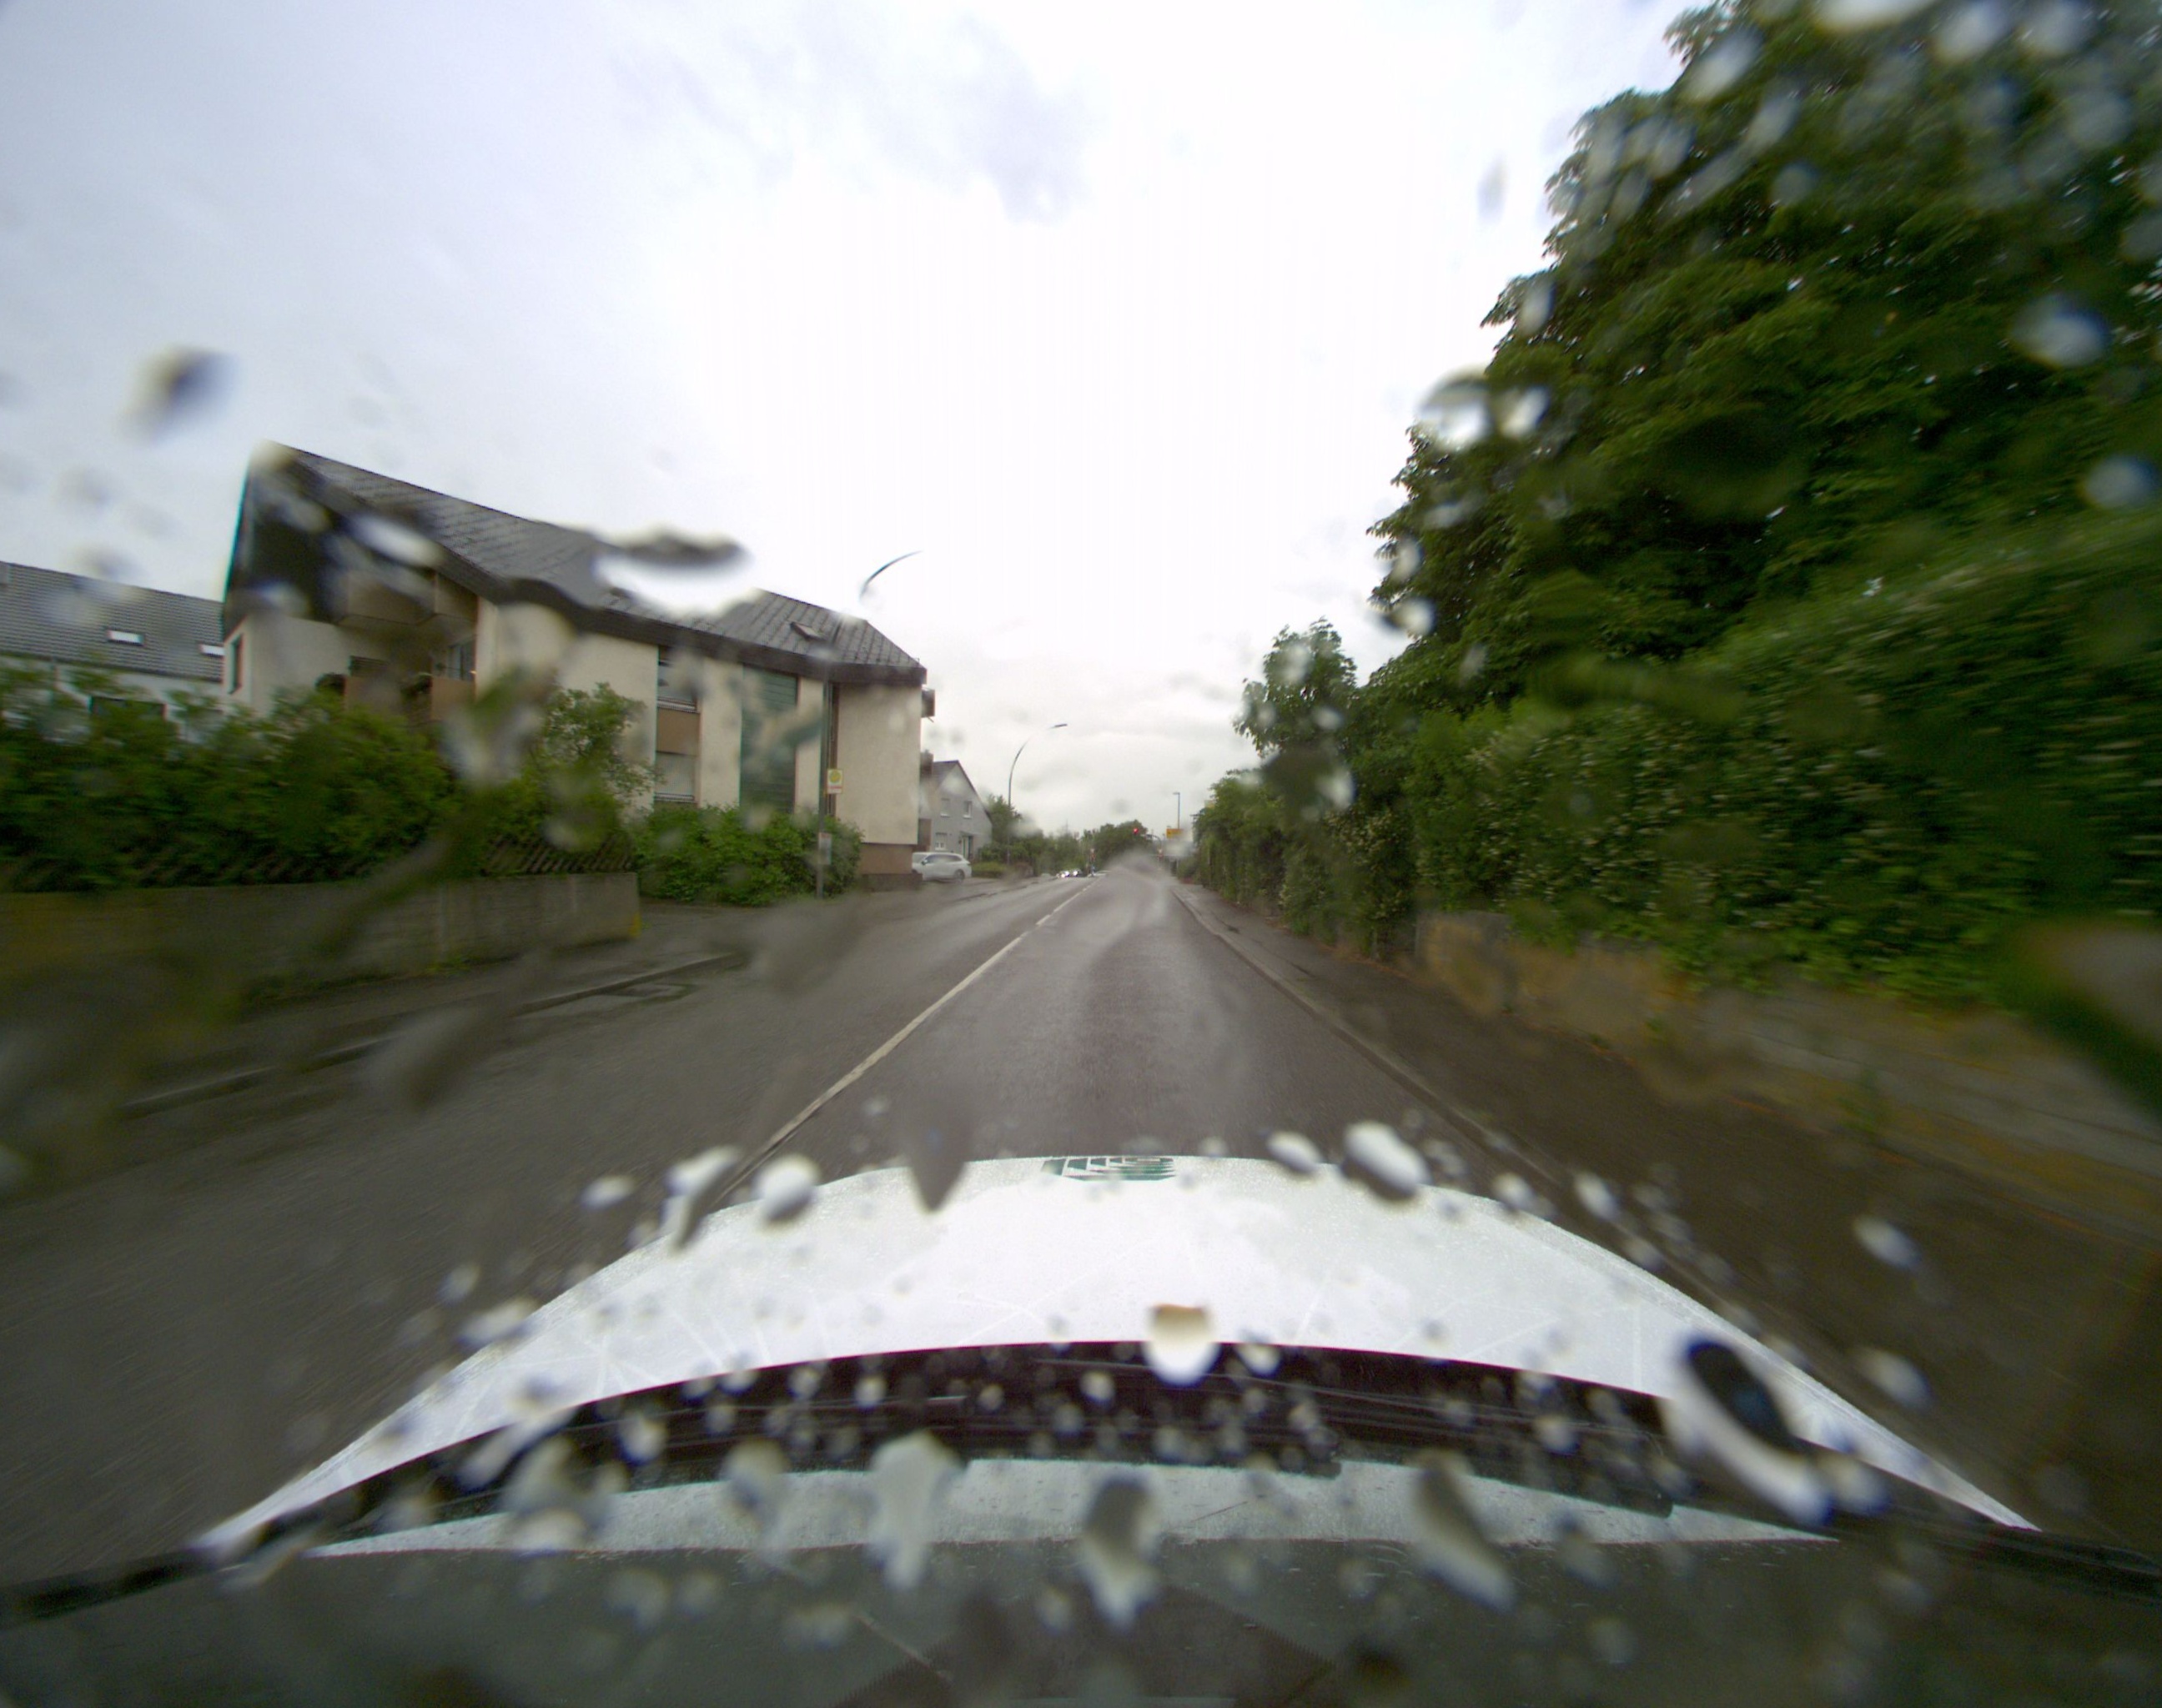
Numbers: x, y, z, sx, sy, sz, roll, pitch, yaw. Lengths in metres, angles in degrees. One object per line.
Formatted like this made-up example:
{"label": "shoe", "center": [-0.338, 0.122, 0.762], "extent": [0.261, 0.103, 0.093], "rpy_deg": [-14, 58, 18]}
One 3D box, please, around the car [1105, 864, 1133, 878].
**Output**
{"label": "car", "center": [5.899, 2.638, 126.250], "extent": [3.963, 2.014, 1.782], "rpy_deg": [1, -1, 9]}

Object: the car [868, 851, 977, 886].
{"label": "car", "center": [-7.198, 0.630, 37.454], "extent": [1.883, 1.477, 4.913], "rpy_deg": [2, 1, 37]}

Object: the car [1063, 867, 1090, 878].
{"label": "car", "center": [-0.686, 2.643, 117.732], "extent": [1.787, 1.523, 4.025], "rpy_deg": [0, -1, 37]}

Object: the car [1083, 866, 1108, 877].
{"label": "car", "center": [2.499, 2.948, 138.873], "extent": [3.963, 1.617, 1.949], "rpy_deg": [-1, 2, 9]}
